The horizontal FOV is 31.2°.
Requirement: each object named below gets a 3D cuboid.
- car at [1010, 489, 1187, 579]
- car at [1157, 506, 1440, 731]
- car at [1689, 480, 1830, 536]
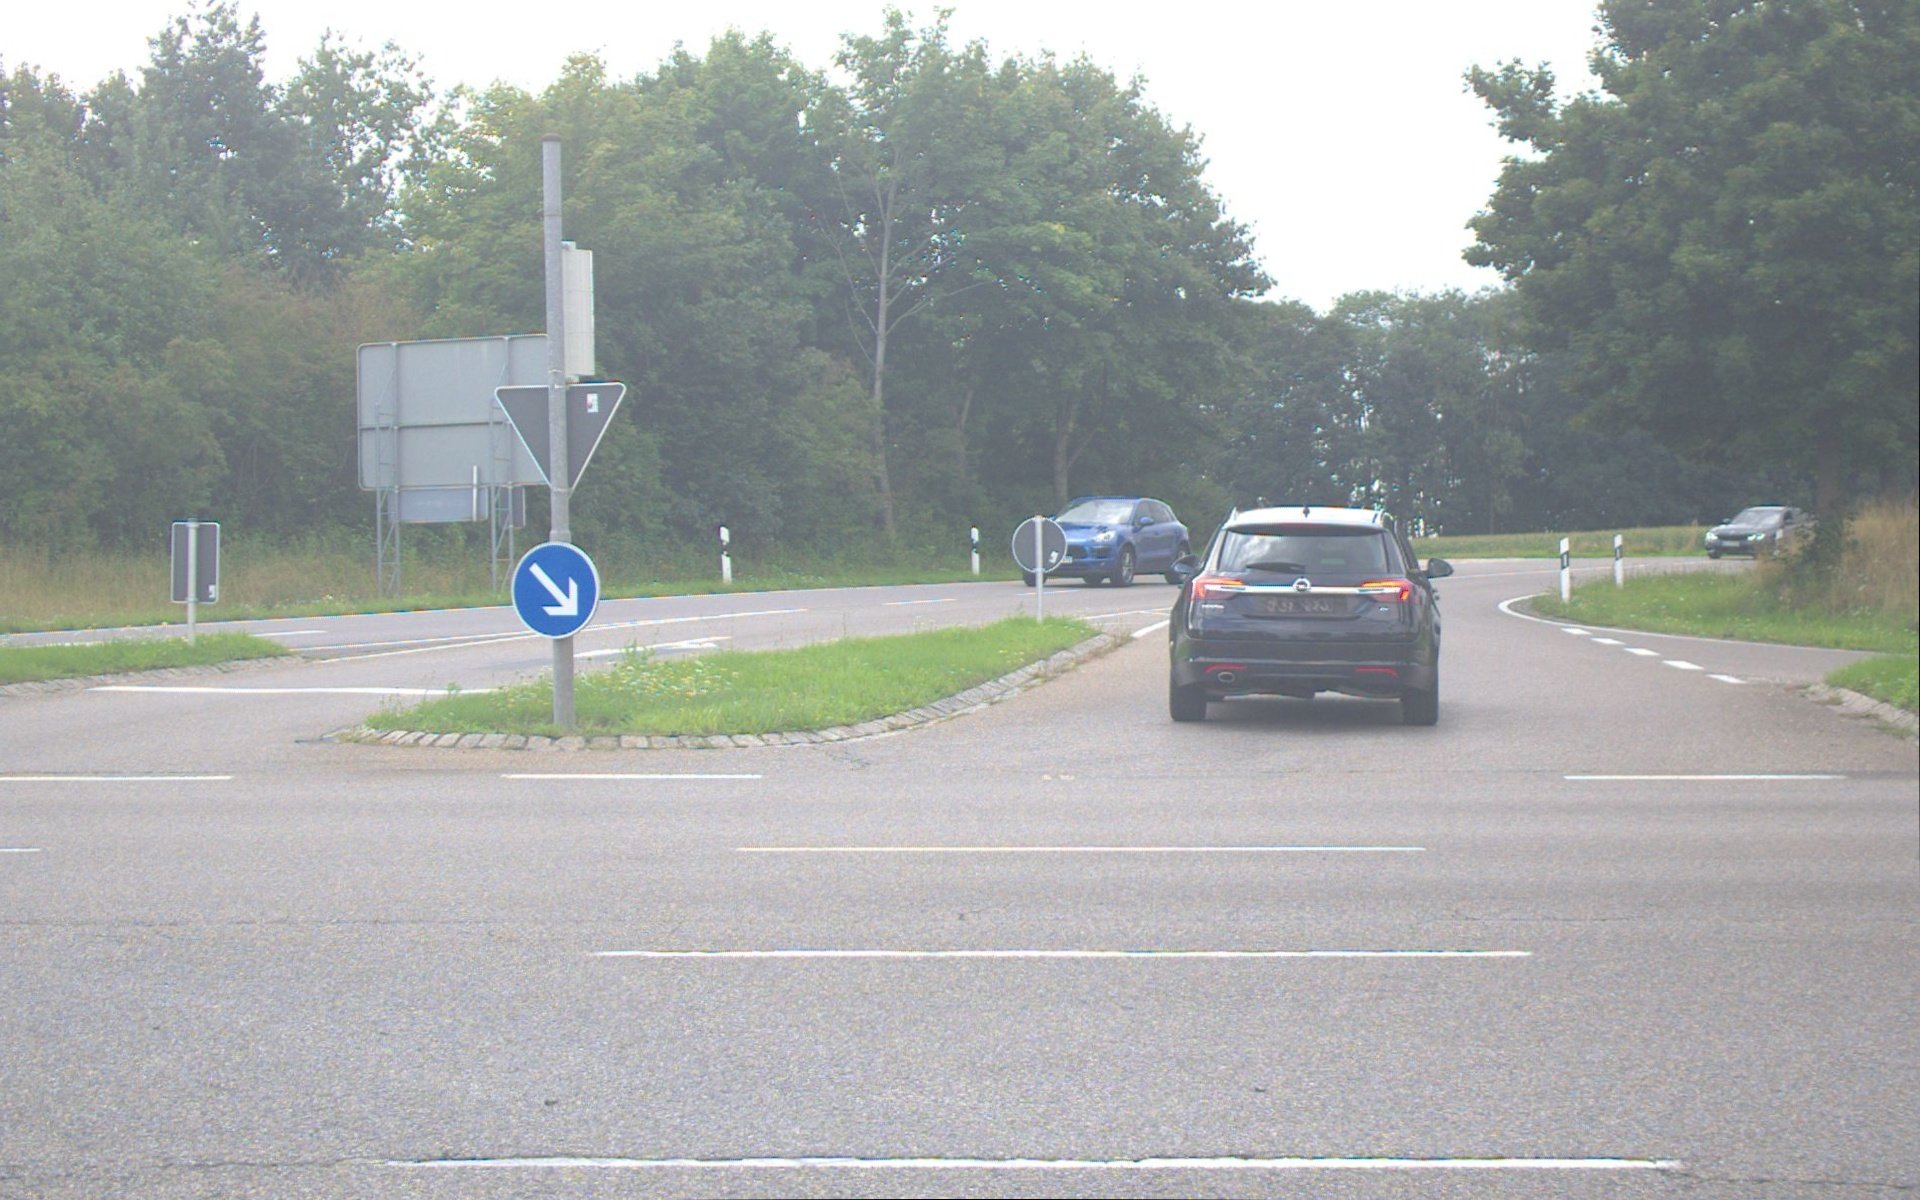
[{"bbox_3d":[2.568,-1.206,62.429,1.995,1.565,4.752,0,1,18],"label":"car"},{"bbox_3d":[2.425,0.079,24.305,1.808,1.446,4.272,0,1,7],"label":"car"},{"bbox_3d":[22.002,-2.515,94.499,1.998,1.498,4.657,1,2,38],"label":"car"}]
